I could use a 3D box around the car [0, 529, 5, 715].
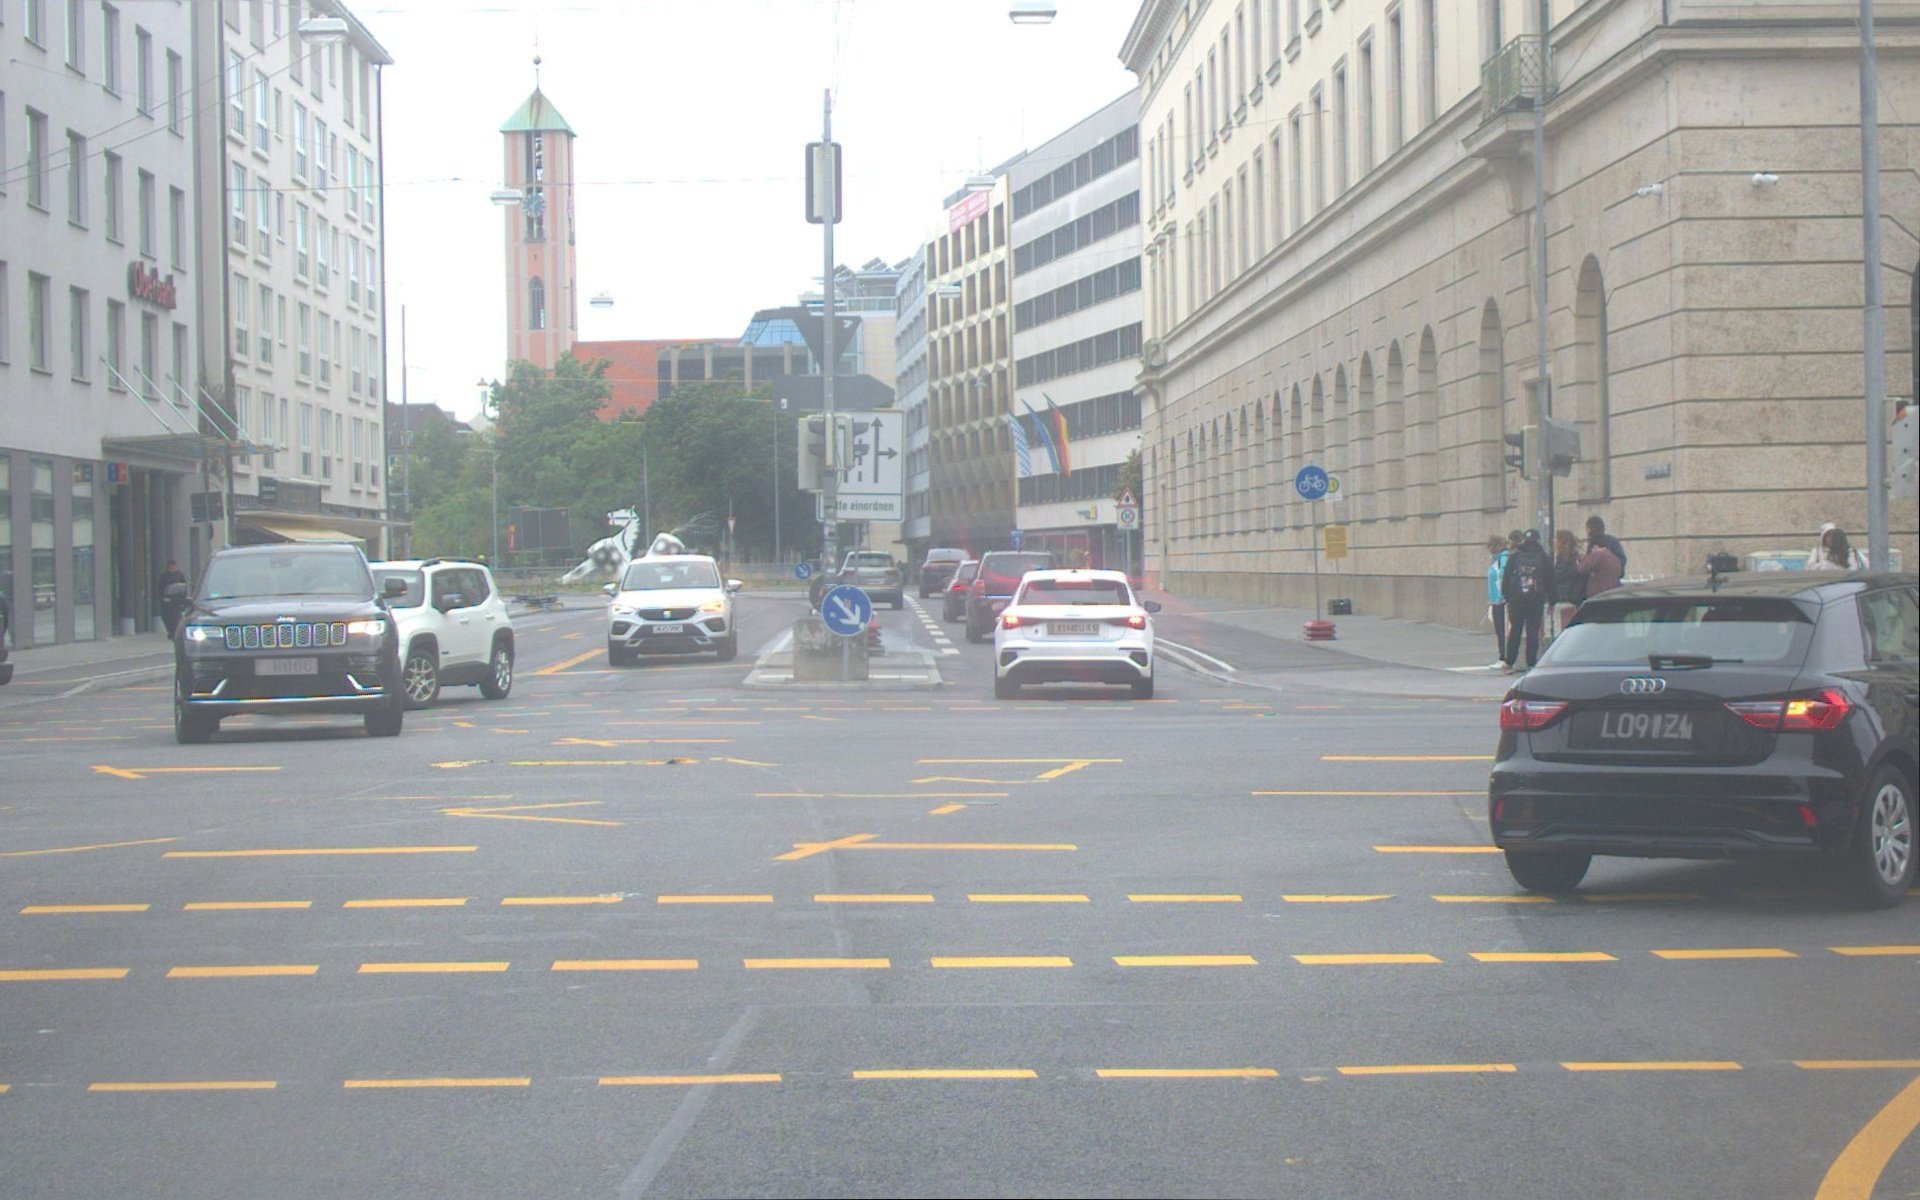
[{"bbox_3d":[-12.372,0.293,35.666,2.241,2.007,4.443,0,1,29],"label":"car"}]

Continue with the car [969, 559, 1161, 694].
[{"bbox_3d":[1.136,0.261,39.301,1.813,1.420,4.453,1,1,-3],"label":"car"}]

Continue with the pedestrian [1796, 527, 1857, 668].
[{"bbox_3d":[10.326,-0.033,40.984,0.616,1.666,0.542,0,1,6],"label":"pedestrian"}]

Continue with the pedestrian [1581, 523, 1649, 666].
[{"bbox_3d":[8.120,-0.079,42.620,0.584,1.749,0.818,1,1,30],"label":"pedestrian"}]

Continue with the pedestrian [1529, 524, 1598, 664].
[{"bbox_3d":[7.632,-0.079,43.491,0.818,1.749,0.585,1,1,13],"label":"pedestrian"}]

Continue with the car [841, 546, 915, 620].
[{"bbox_3d":[-2.315,-0.501,96.336,1.993,2.007,4.000,-1,1,-2],"label":"car"}]

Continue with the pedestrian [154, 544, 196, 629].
[{"bbox_3d":[-16.503,-0.293,72.290,0.736,1.766,0.736,0,1,-2],"label":"pedestrian"}]

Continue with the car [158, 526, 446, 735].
[{"bbox_3d":[-5.887,0.222,31.283,1.994,1.728,4.586,-1,1,-4],"label":"car"}]

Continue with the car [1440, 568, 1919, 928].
[{"bbox_3d":[3.940,0.561,15.675,1.867,1.383,3.992,1,1,35],"label":"car"}]

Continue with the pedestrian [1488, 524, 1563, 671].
[{"bbox_3d":[6.812,-0.032,41.395,0.818,1.749,0.679,1,1,15],"label":"pedestrian"}]

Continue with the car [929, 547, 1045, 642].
[{"bbox_3d":[0.447,-0.121,61.092,1.865,1.596,3.851,-1,1,-2],"label":"car"}]

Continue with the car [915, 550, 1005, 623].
[{"bbox_3d":[-0.024,-0.325,78.297,1.865,1.596,3.851,-1,1,-2],"label":"car"}]

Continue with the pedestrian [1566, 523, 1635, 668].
[{"bbox_3d":[7.791,-0.061,41.815,0.584,1.749,0.818,1,1,30],"label":"pedestrian"}]

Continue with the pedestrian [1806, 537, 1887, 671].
[{"bbox_3d":[10.374,0.043,40.254,0.817,1.552,0.667,0,1,6],"label":"pedestrian"}]

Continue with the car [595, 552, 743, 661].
[{"bbox_3d":[-4.310,0.062,51.443,1.993,1.519,4.233,-1,1,-2],"label":"car"}]

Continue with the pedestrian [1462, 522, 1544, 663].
[{"bbox_3d":[6.788,-0.100,42.952,0.817,1.749,0.585,0,1,-32],"label":"pedestrian"}]

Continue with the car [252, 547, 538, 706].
[{"bbox_3d":[-6.334,0.261,39.042,1.794,1.672,4.231,-1,1,12],"label":"car"}]
